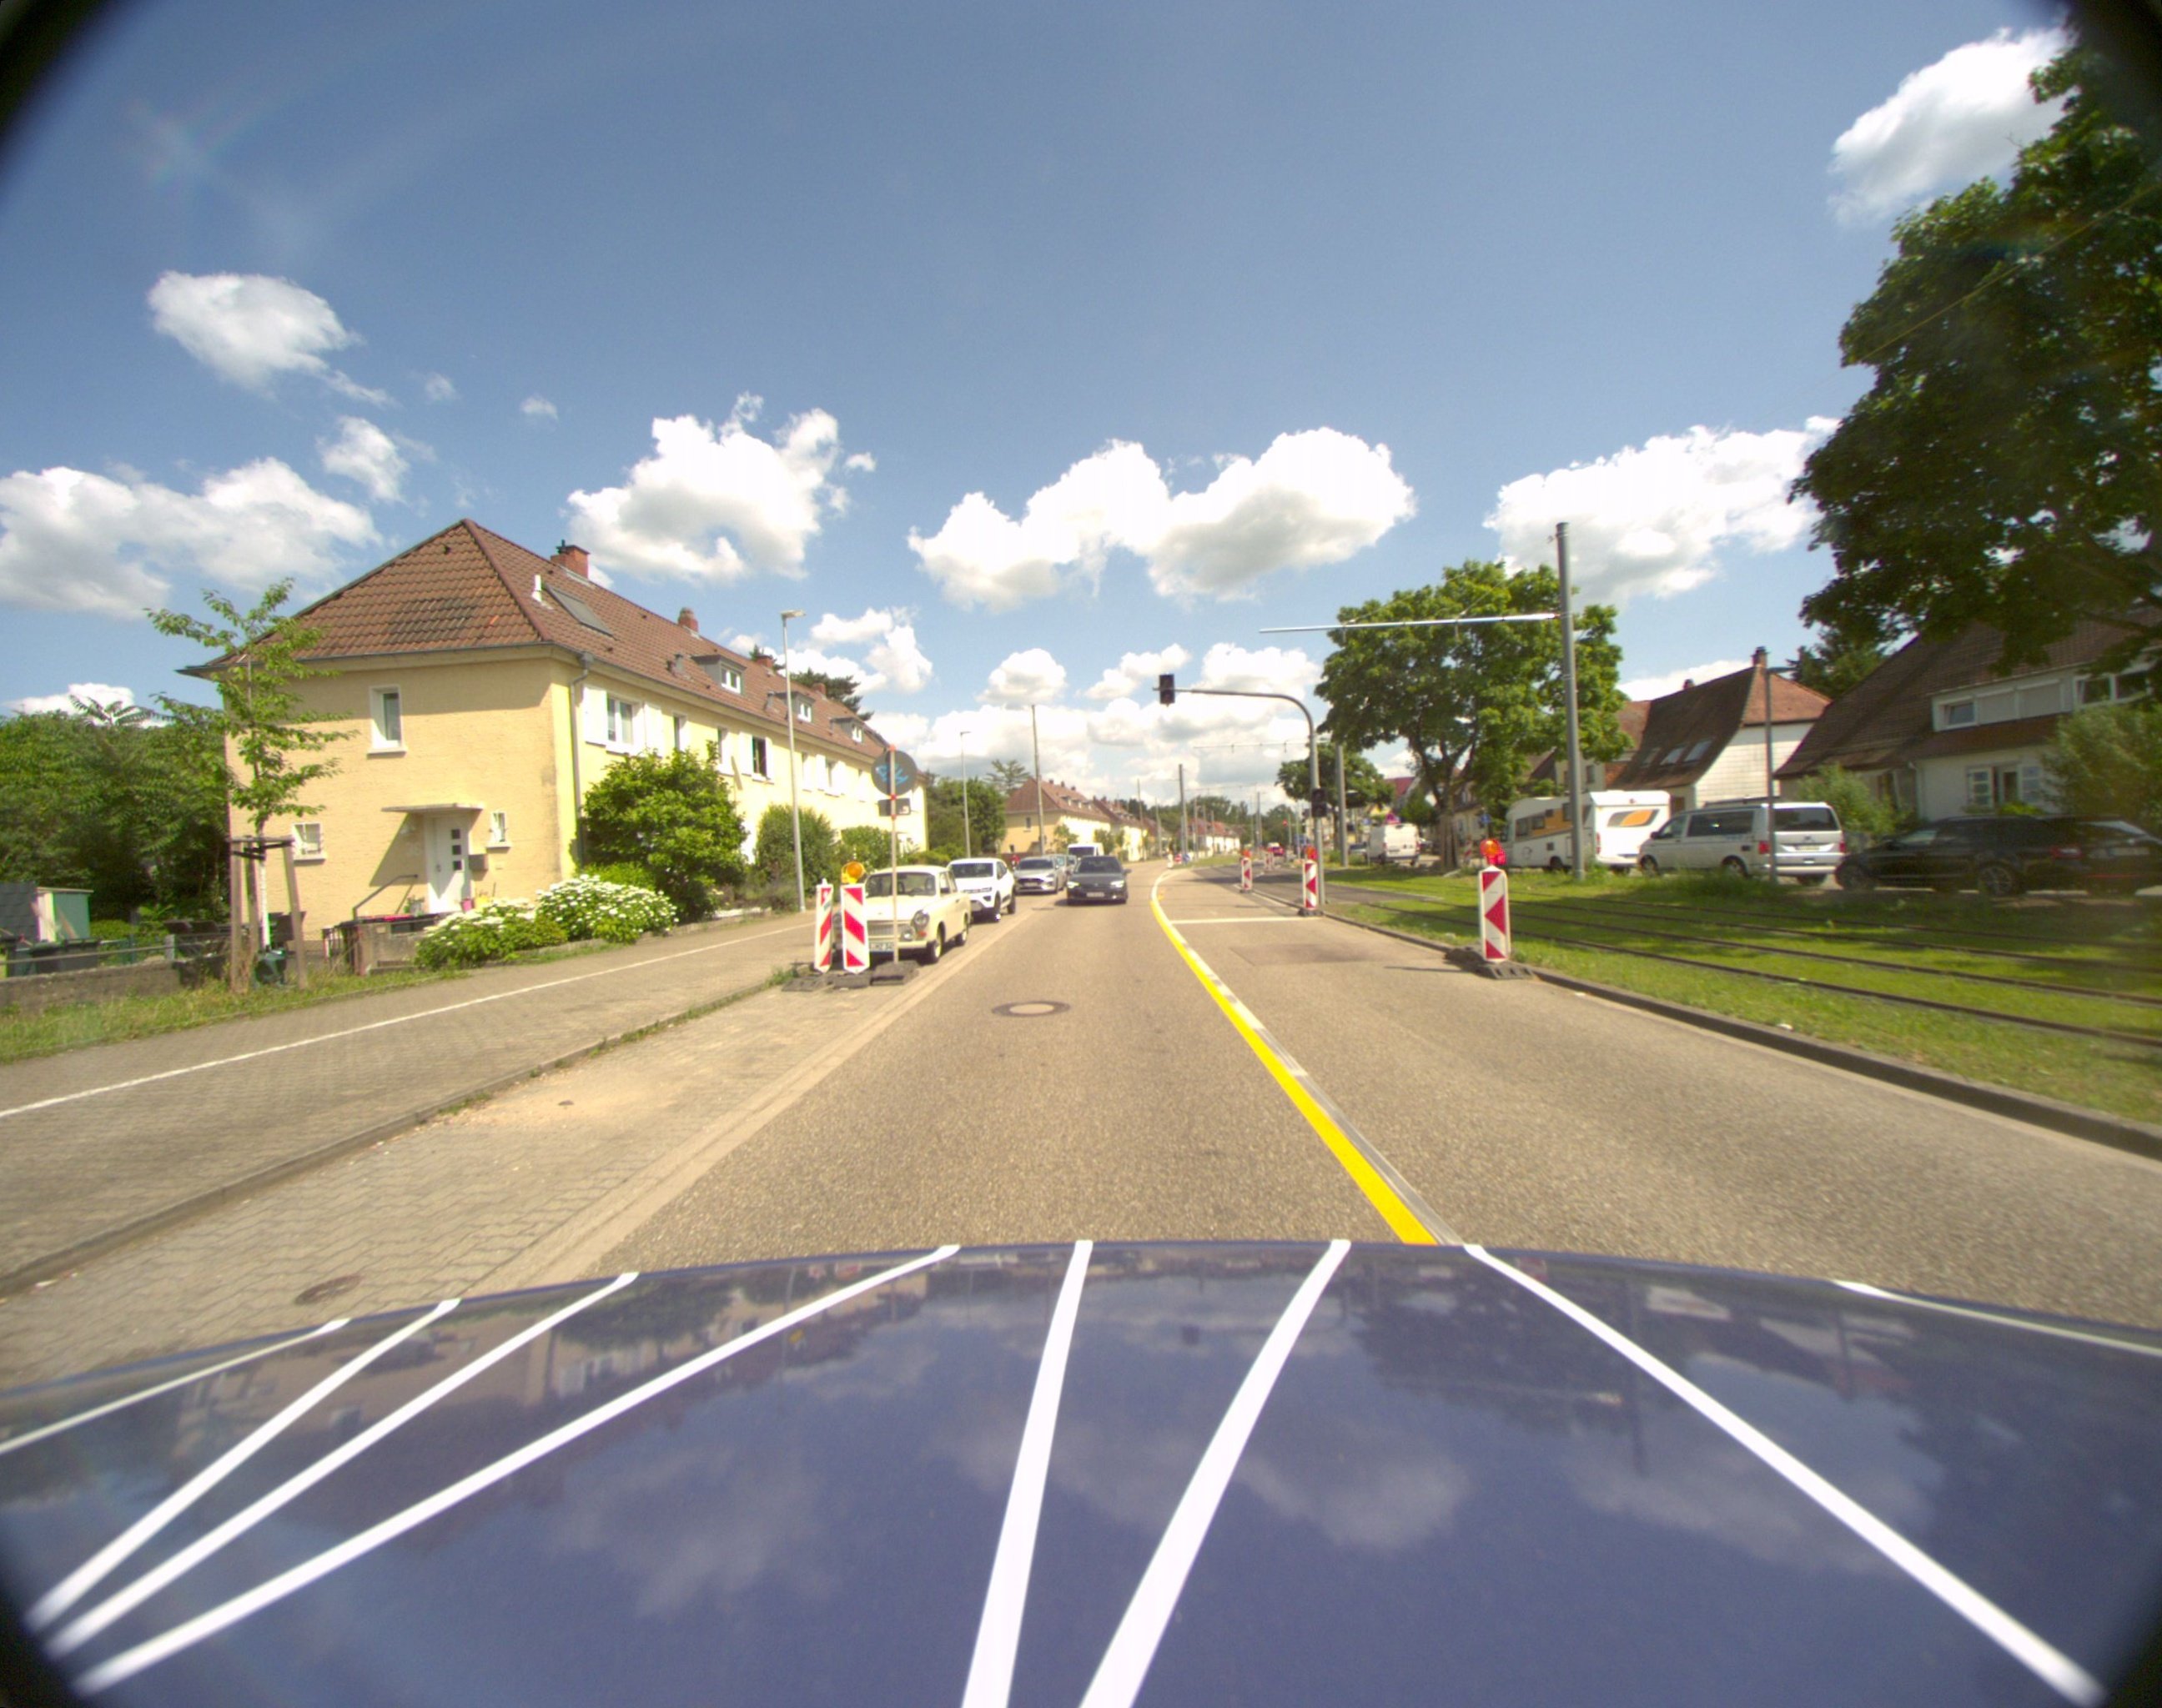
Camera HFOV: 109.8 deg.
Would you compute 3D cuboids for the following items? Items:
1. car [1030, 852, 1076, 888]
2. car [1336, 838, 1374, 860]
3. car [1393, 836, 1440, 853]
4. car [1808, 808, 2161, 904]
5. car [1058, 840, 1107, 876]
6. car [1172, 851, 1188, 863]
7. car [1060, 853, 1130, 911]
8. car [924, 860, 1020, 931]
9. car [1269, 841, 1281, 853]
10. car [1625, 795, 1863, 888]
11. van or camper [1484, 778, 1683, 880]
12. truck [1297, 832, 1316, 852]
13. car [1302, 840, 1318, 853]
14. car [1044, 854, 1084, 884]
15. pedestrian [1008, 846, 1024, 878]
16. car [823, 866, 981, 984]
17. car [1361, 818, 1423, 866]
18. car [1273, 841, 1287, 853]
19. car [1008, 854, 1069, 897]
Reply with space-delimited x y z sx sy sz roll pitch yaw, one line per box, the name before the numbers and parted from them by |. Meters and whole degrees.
car | -1.290 0.722 36.159 1.631 1.541 3.811 -2 0 5
car | 20.618 -0.378 57.290 1.695 1.456 4.757 -3 0 8
car | 33.879 -0.944 76.792 3.958 1.535 1.761 -3 0 5
car | 16.200 0.008 13.771 1.856 1.379 4.811 -3 0 8
car | 0.198 0.217 50.360 2.281 2.170 6.371 -2 0 9
car | 14.644 0.433 111.975 1.878 1.544 4.989 -3 0 11
car | 0.539 0.777 23.102 1.742 1.513 4.703 -1 1 5
car | -2.561 0.930 18.671 1.531 1.472 3.810 -2 0 4
car | 32.797 -1.197 128.624 1.728 1.843 4.545 -3 0 12
car | 16.694 -0.286 19.576 1.998 2.002 4.905 -3 0 4
van or camper | 17.028 -0.770 26.468 2.381 2.953 7.297 -2 0 3
truck | 38.743 -2.057 130.801 2.840 3.135 7.942 -3 0 15
car | 29.001 -0.973 96.118 1.727 1.518 4.776 -3 0 18
car | -0.888 0.769 41.662 1.711 1.495 4.256 -2 0 5
pedestrian | -4.191 0.521 49.227 0.774 2.002 0.762 -3 1 6
car | -2.717 1.002 12.441 1.466 1.493 4.109 -2 0 2
car | 18.906 -0.727 46.446 2.157 2.653 4.918 -3 0 6
car | 28.297 -1.031 108.074 1.728 1.553 4.546 -3 0 13
car | -1.586 0.784 29.917 1.753 1.489 4.387 -2 0 4
